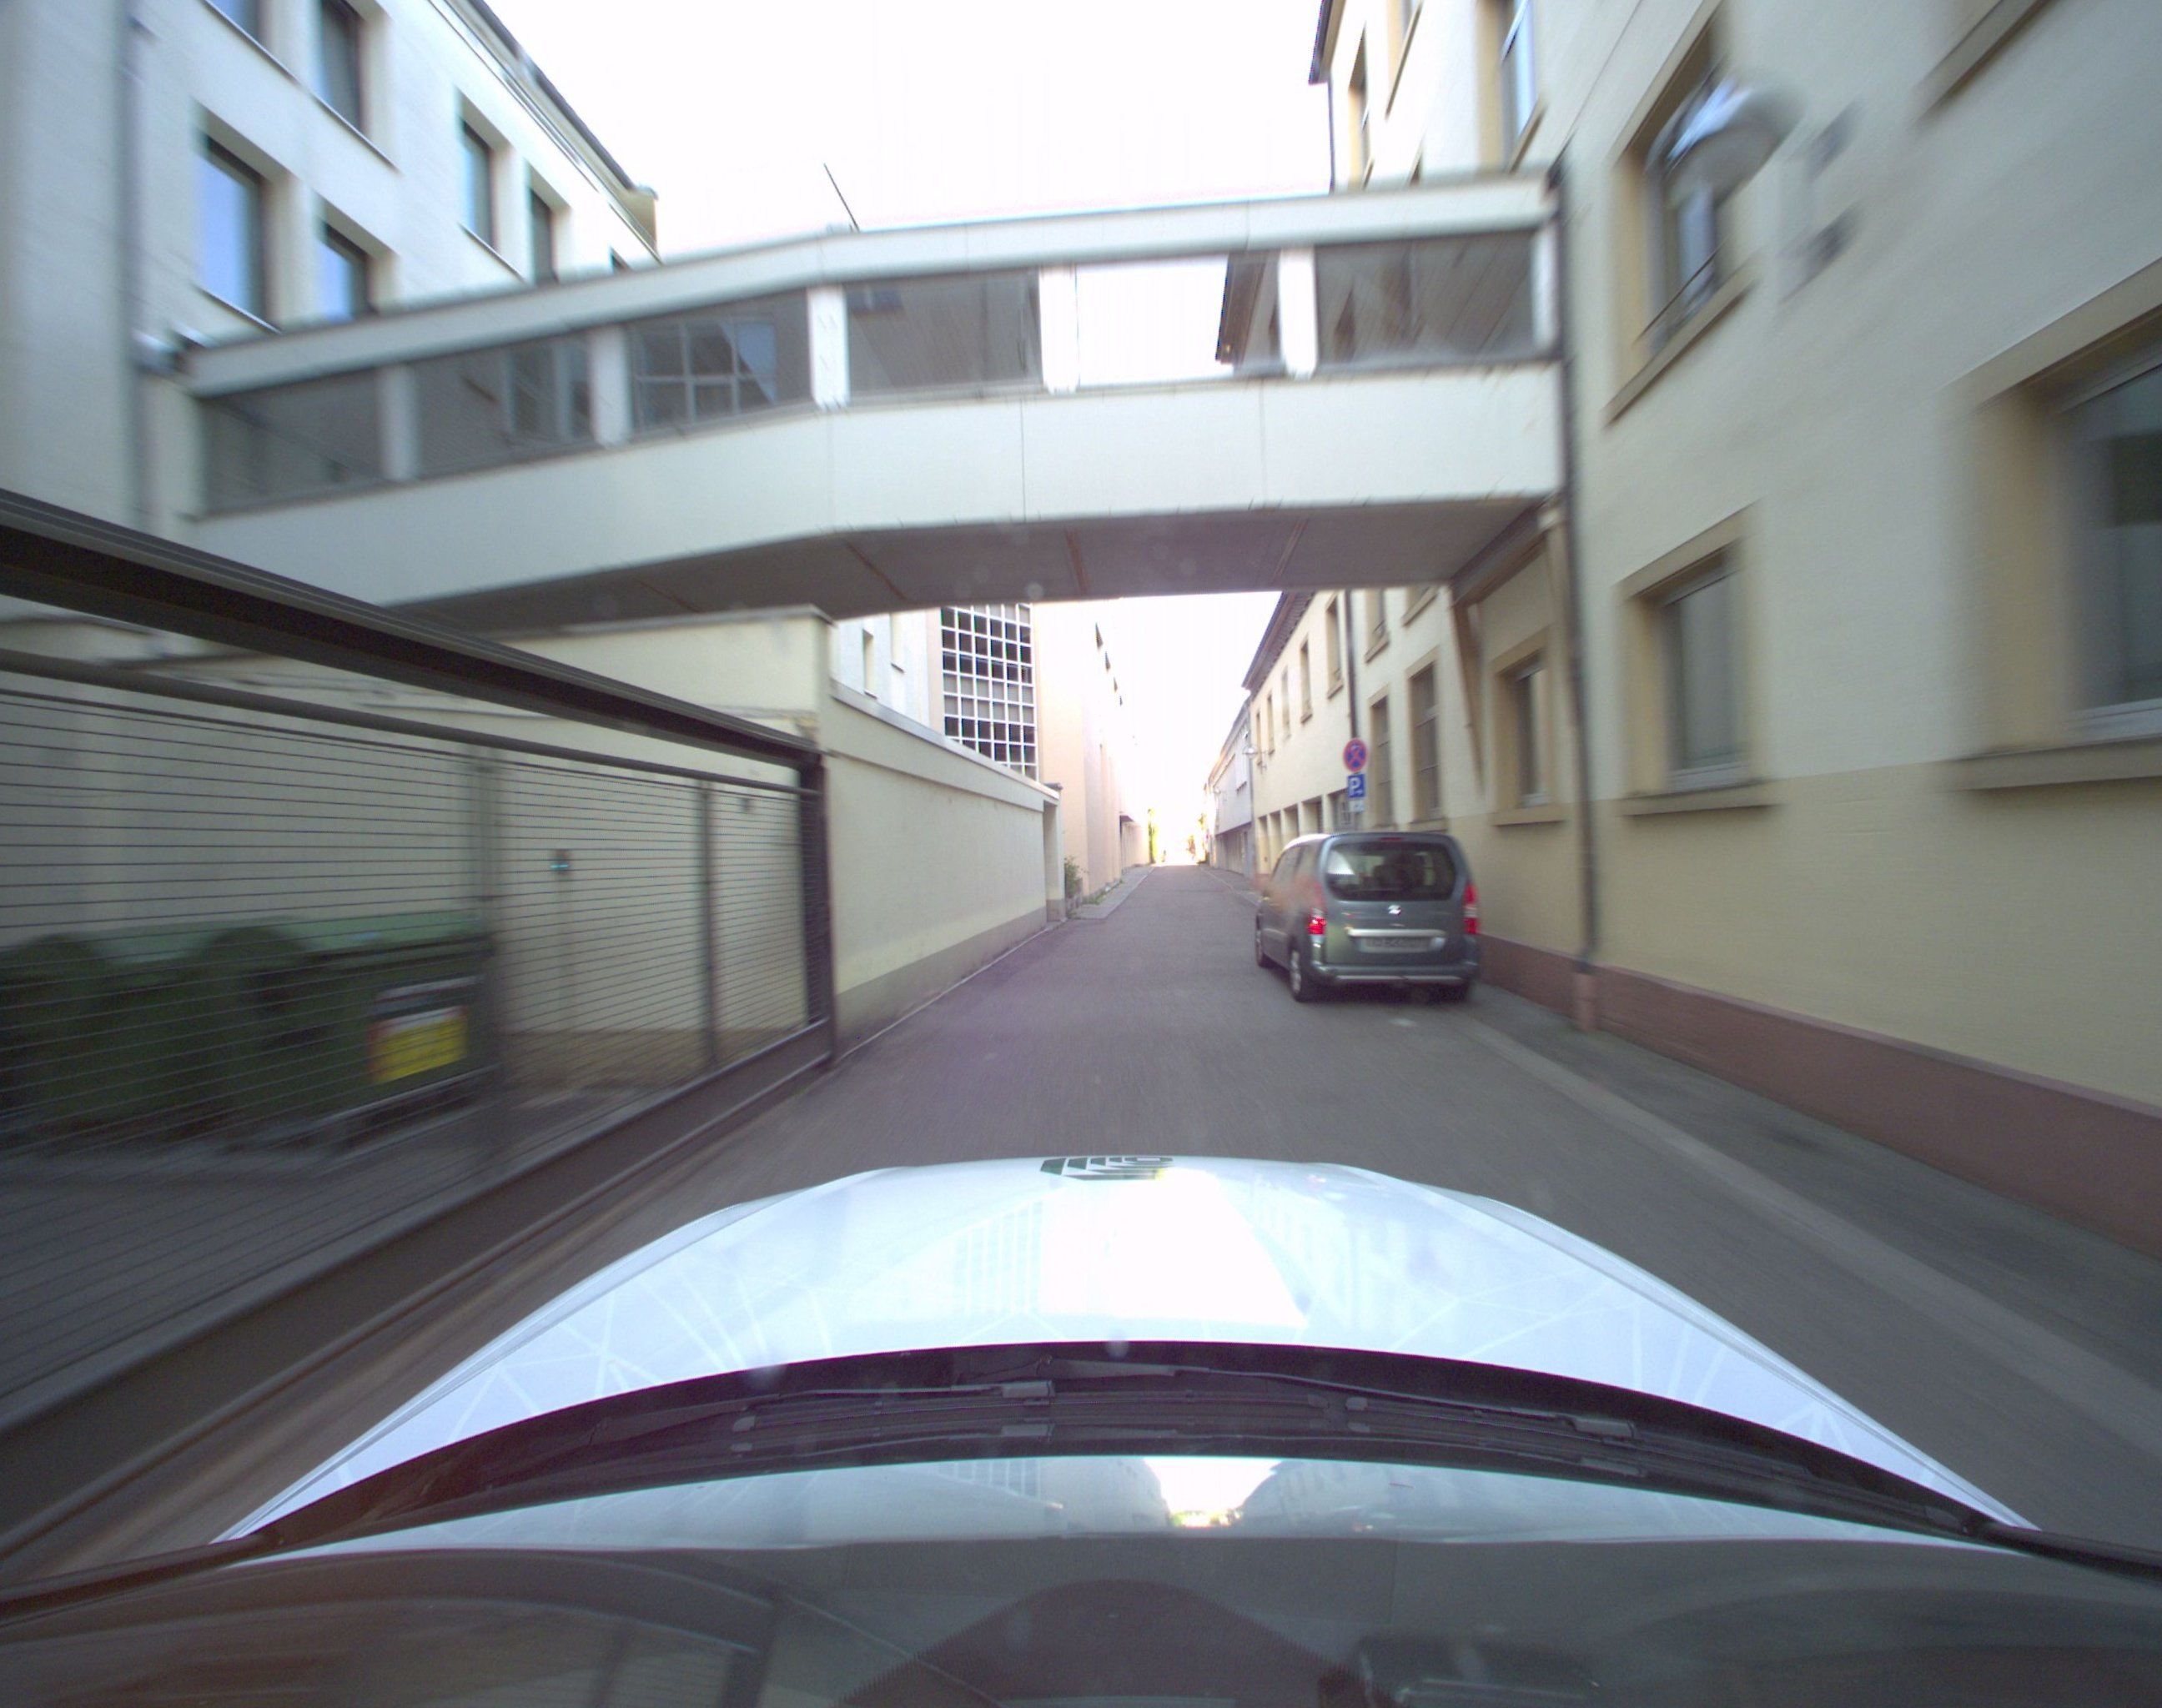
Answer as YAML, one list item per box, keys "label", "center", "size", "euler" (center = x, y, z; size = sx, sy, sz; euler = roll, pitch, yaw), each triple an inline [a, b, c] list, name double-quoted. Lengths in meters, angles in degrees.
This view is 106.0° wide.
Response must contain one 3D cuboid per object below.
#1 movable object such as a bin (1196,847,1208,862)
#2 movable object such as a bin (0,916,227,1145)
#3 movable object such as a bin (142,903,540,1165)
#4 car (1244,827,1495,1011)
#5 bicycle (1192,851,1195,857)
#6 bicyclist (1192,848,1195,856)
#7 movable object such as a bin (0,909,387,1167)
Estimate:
- label: "movable object such as a bin"
  center: [12.183, 0.048, 81.901]
  size: [1.101, 1.436, 1.417]
  euler: [-4, 1, 6]
- label: "movable object such as a bin"
  center: [-7.515, 1.245, 6.040]
  size: [1.065, 1.424, 1.175]
  euler: [-3, -1, 8]
- label: "movable object such as a bin"
  center: [-4.929, 1.123, 5.616]
  size: [1.174, 1.424, 1.592]
  euler: [-3, -1, 8]
- label: "car"
  center: [3.181, 0.601, 9.911]
  size: [1.847, 1.755, 4.167]
  euler: [0, 0, 4]
- label: "bicycle"
  center: [17.127, -0.021, 123.888]
  size: [0.440, 0.915, 1.520]
  euler: [-3, 0, 10]
- label: "bicyclist"
  center: [17.112, -0.294, 123.882]
  size: [0.509, 1.322, 0.560]
  euler: [-3, -1, 9]
- label: "movable object such as a bin"
  center: [-6.169, 1.181, 5.731]
  size: [1.065, 1.424, 1.592]
  euler: [-3, -1, 8]
